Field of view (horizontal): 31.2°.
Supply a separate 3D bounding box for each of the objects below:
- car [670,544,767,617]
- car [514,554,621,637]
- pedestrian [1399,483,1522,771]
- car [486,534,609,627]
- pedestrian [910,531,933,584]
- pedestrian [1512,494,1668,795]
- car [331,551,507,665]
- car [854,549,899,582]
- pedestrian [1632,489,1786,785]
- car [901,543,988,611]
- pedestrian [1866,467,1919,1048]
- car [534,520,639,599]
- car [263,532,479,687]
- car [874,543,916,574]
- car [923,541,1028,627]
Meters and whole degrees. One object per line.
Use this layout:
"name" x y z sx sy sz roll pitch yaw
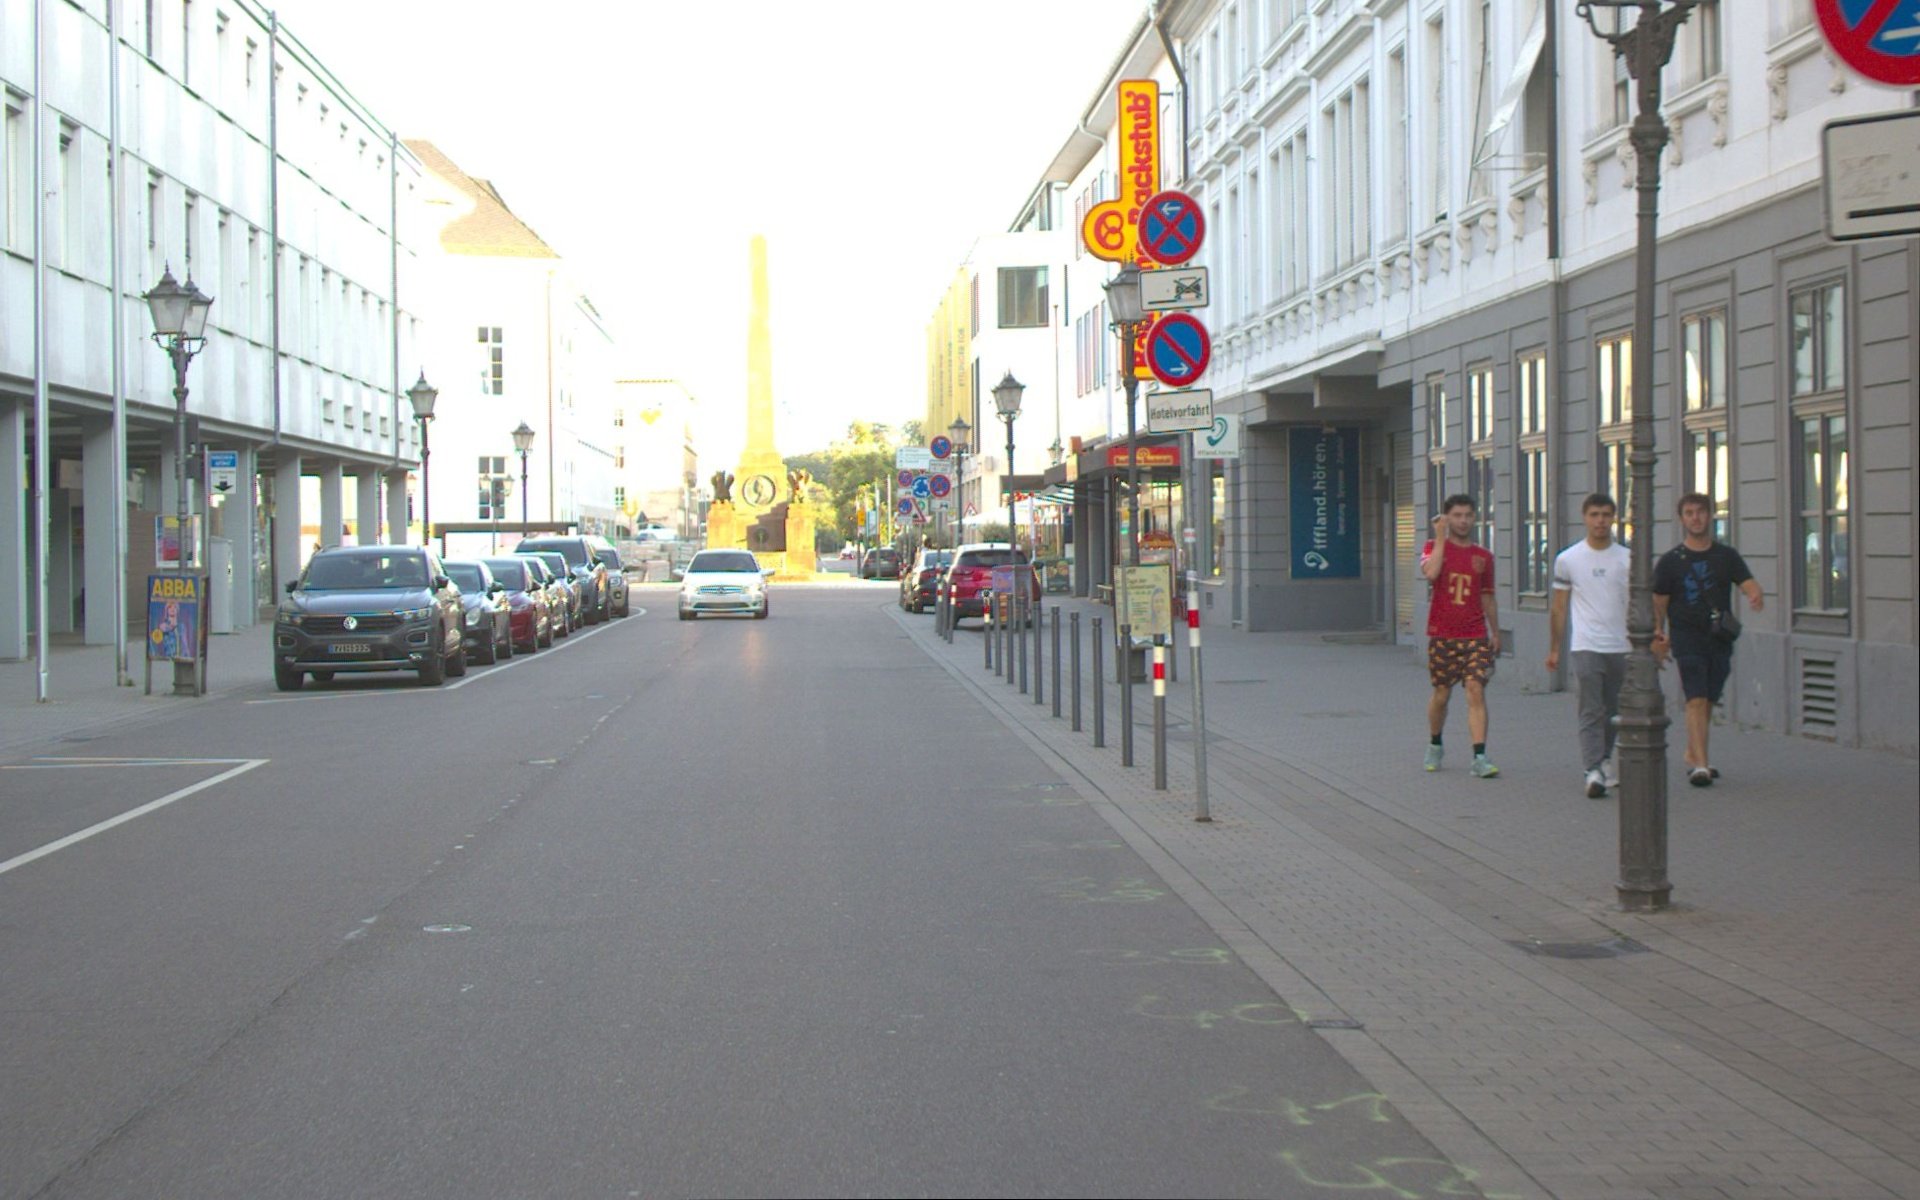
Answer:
"car" -4.878 -0.418 69.898 1.785 1.404 4.089 -1 1 -2
"car" -7.093 -0.108 62.432 1.673 1.395 4.001 -1 1 -3
"pedestrian" 3.173 0.160 21.858 0.620 1.783 0.913 -1 1 -1
"car" -8.154 -0.417 68.259 1.993 1.722 4.516 -2 1 -2
"pedestrian" -1.221 -1.353 109.163 0.690 1.642 0.696 -1 1 -3
"pedestrian" 3.688 0.248 20.169 0.748 1.724 0.881 -1 1 1
"car" -7.150 0.074 45.768 1.785 1.404 4.089 -1 1 -2
"car" -3.835 -1.602 158.309 1.993 1.459 4.000 -1 1 -1
"pedestrian" 4.471 0.210 20.572 0.713 1.724 0.873 -1 1 0
"car" -0.372 -0.528 76.633 1.801 1.459 4.117 0 1 -2
"pedestrian" 3.139 0.459 10.436 0.607 1.724 0.558 -1 1 -1
"car" -8.133 -0.891 75.143 1.993 1.656 4.000 0 1 -2
"car" -6.551 0.067 38.611 1.785 1.609 4.166 -1 1 -2
"car" -3.140 -2.039 166.804 1.993 1.459 4.000 -1 1 -1
"car" 0.263 -0.313 62.875 1.759 1.518 3.678 0 1 -2
